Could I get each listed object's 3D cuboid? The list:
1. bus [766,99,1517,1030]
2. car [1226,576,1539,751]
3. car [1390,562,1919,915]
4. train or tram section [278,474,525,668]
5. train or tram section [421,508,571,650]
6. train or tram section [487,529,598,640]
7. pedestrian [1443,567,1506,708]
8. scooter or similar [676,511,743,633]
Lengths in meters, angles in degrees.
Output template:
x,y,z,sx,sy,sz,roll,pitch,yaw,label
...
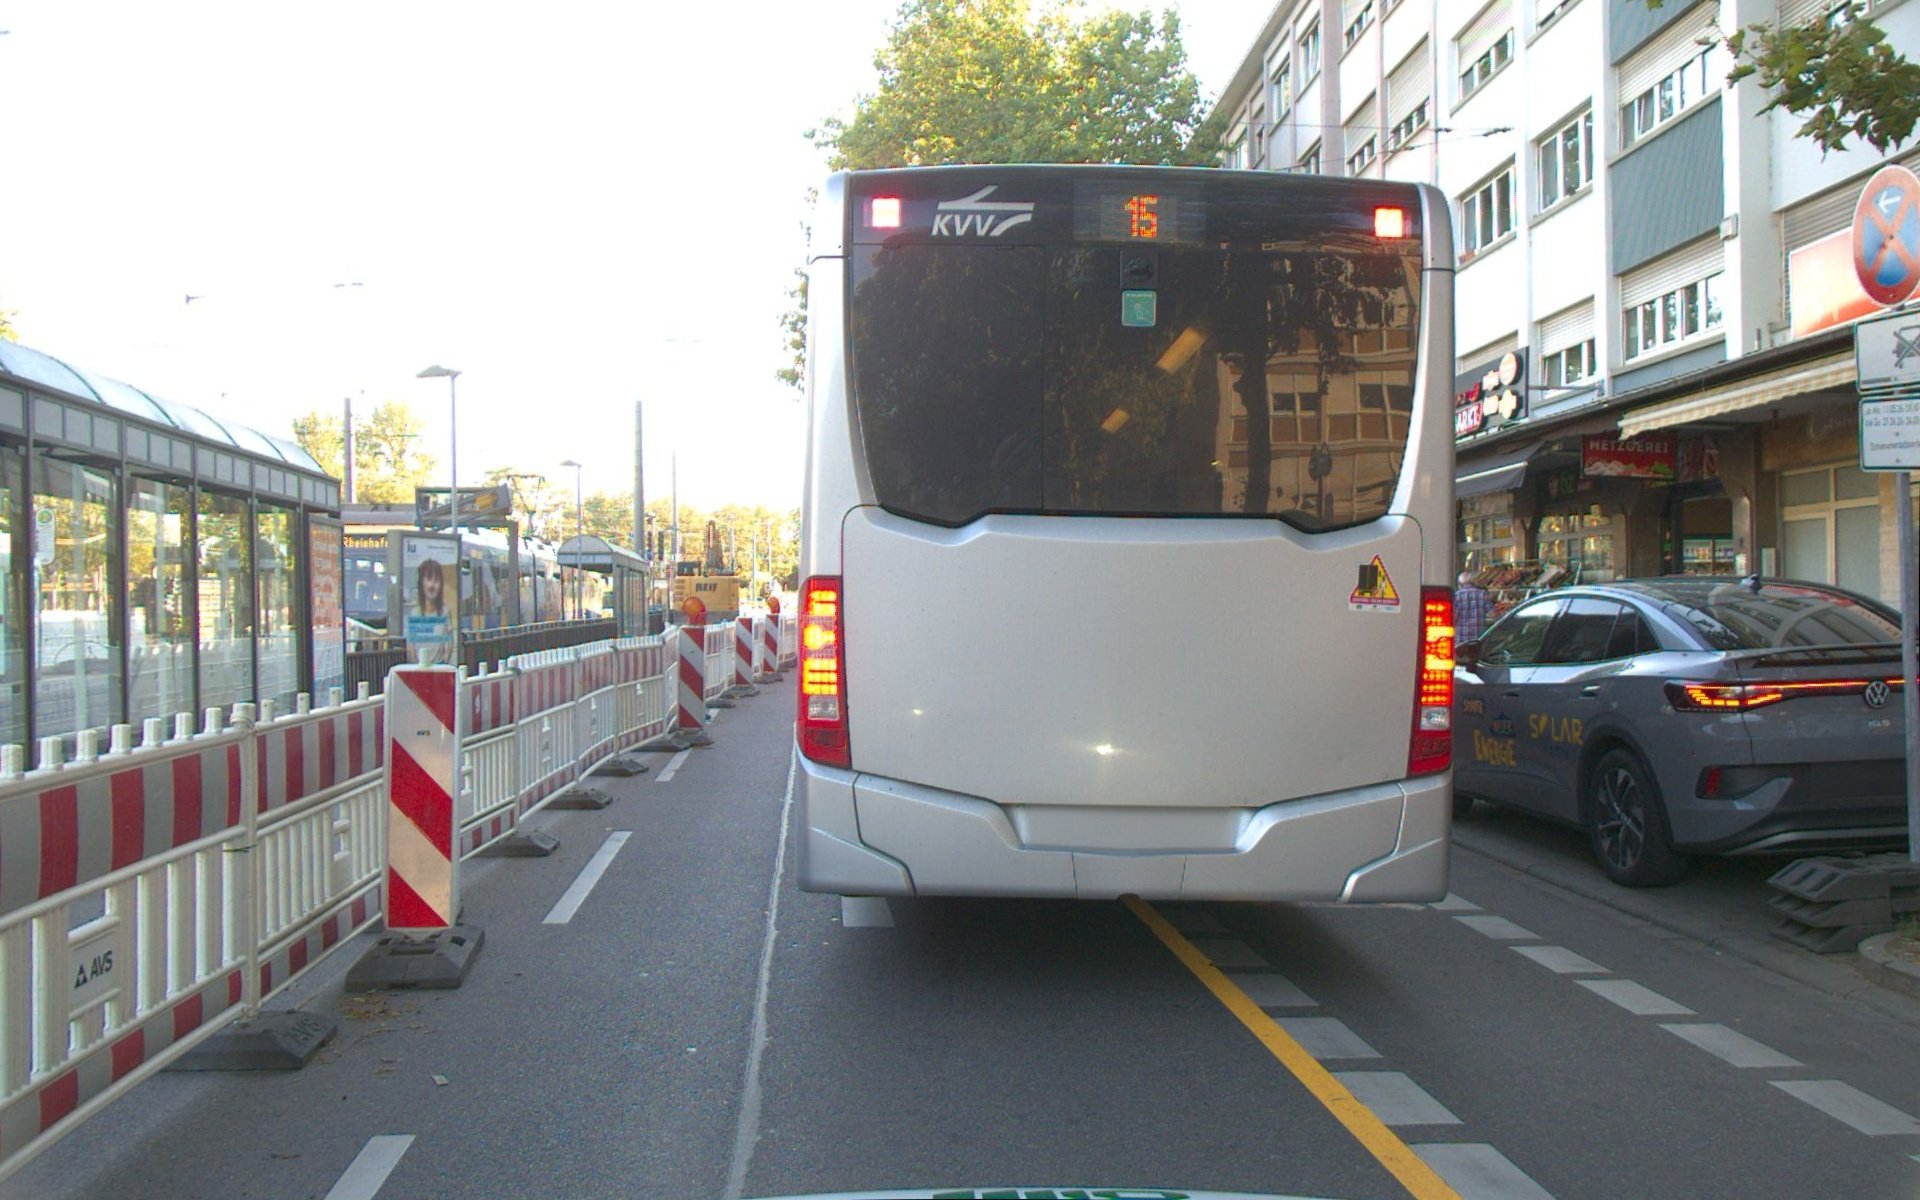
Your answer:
x,y,z,sx,sy,sz,roll,pitch,yaw,label
0.586,-0.110,9.748,2.558,3.181,7.991,1,0,-1,bus
4.494,0.603,18.352,1.955,1.609,4.363,-3,1,-5,car
4.369,0.629,10.109,1.955,1.609,4.363,-3,1,-5,car
-12.001,-0.526,36.885,2.635,3.595,11.756,1,0,-6,train or tram section
-13.354,-0.512,48.521,2.636,3.621,11.560,1,0,-8,train or tram section
-14.926,-0.497,59.961,2.636,3.594,11.560,1,0,-8,train or tram section
6.339,0.453,20.410,0.649,1.696,0.601,-2,-1,15,pedestrian
-9.723,-1.040,64.566,2.422,4.549,5.962,0,0,-8,scooter or similar
